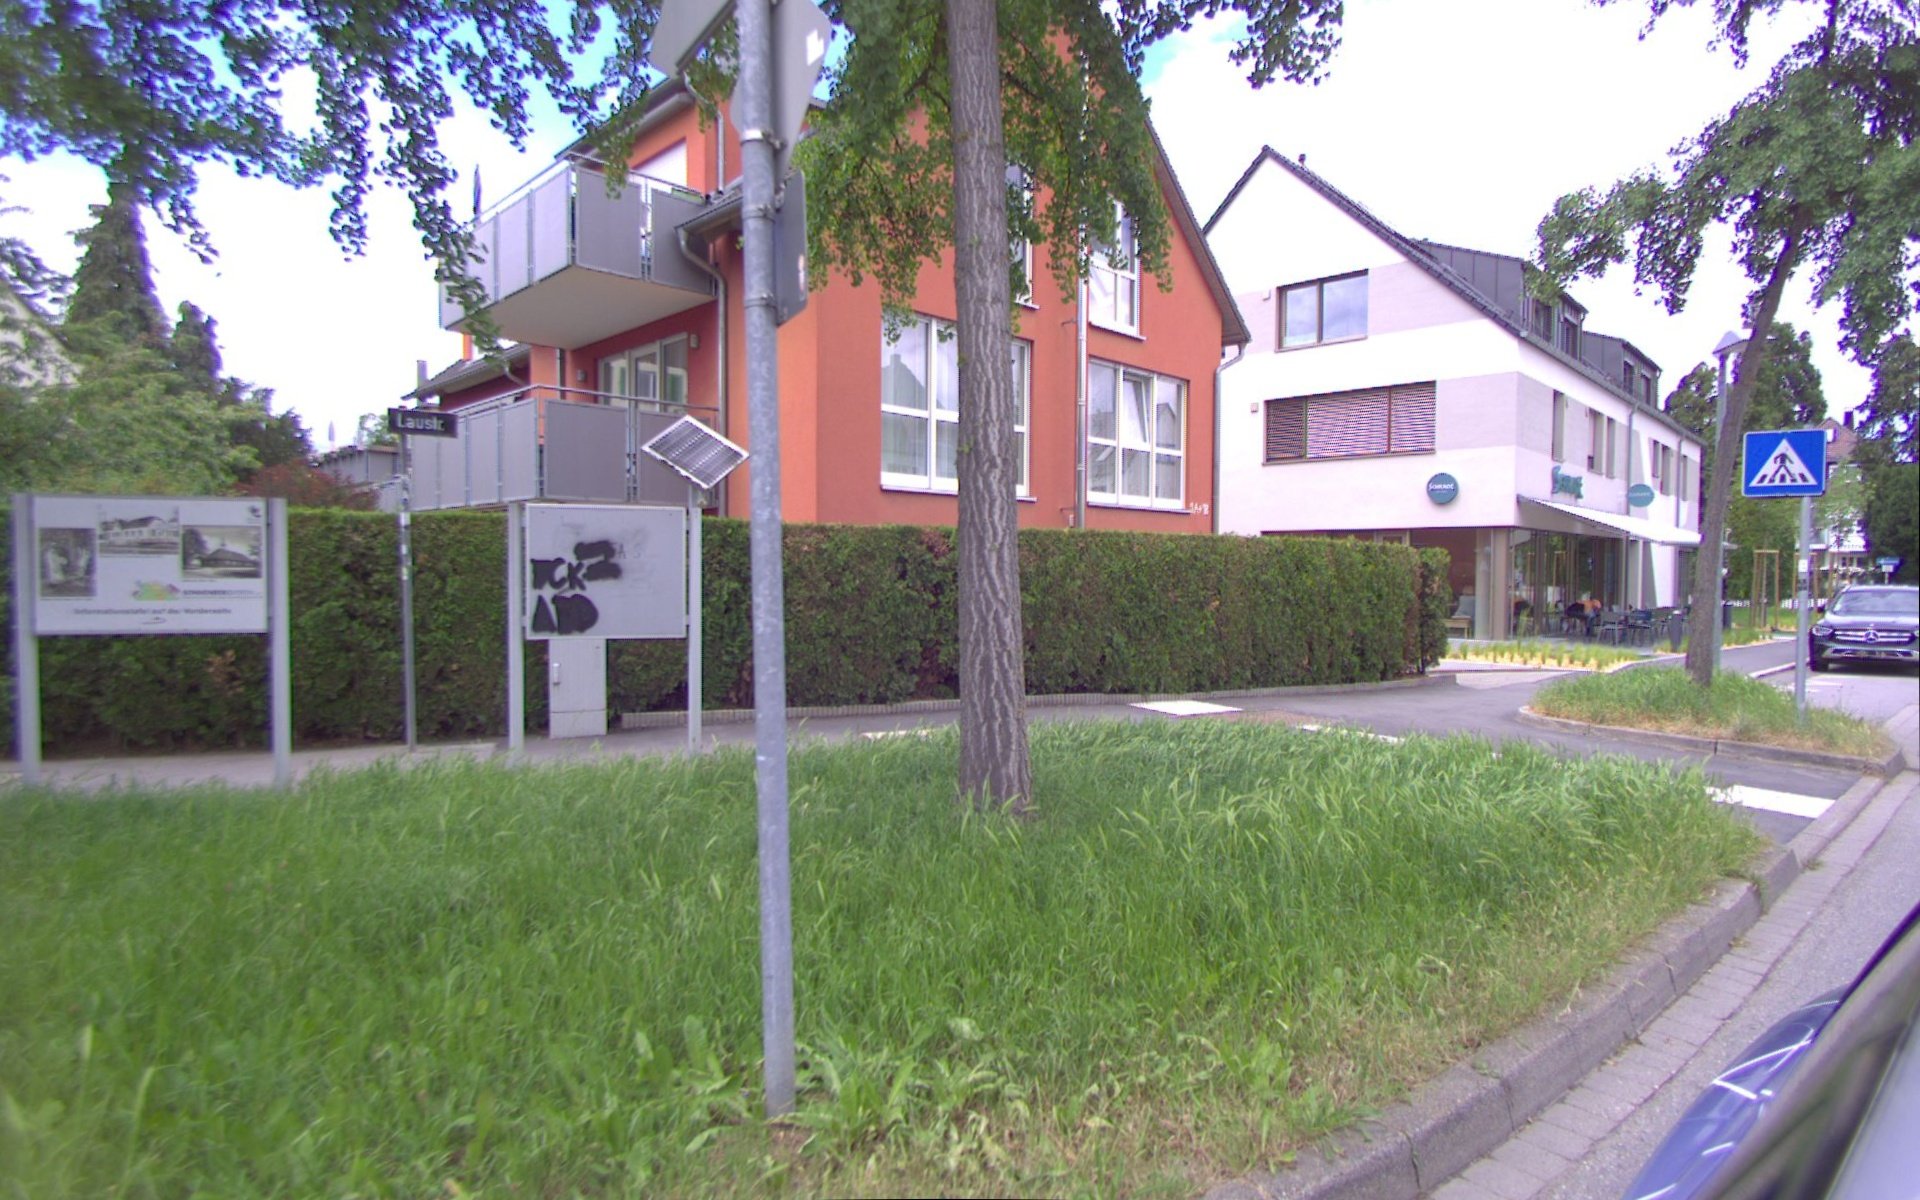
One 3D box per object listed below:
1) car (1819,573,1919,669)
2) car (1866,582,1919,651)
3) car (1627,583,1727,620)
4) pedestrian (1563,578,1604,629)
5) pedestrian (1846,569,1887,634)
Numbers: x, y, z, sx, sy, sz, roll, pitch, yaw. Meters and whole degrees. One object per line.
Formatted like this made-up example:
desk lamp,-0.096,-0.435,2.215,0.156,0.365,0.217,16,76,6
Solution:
car,17.878,0.326,19.277,4.391,1.657,1.849,-1,1,-43
car,22.111,0.343,23.131,3.770,1.470,1.709,-1,1,-42
car,35.841,0.085,50.648,3.829,1.616,1.848,-4,-1,43
pedestrian,15.876,0.077,25.770,0.751,1.253,0.681,2,2,44
pedestrian,24.167,0.030,26.976,0.648,1.689,0.677,-1,3,-41
